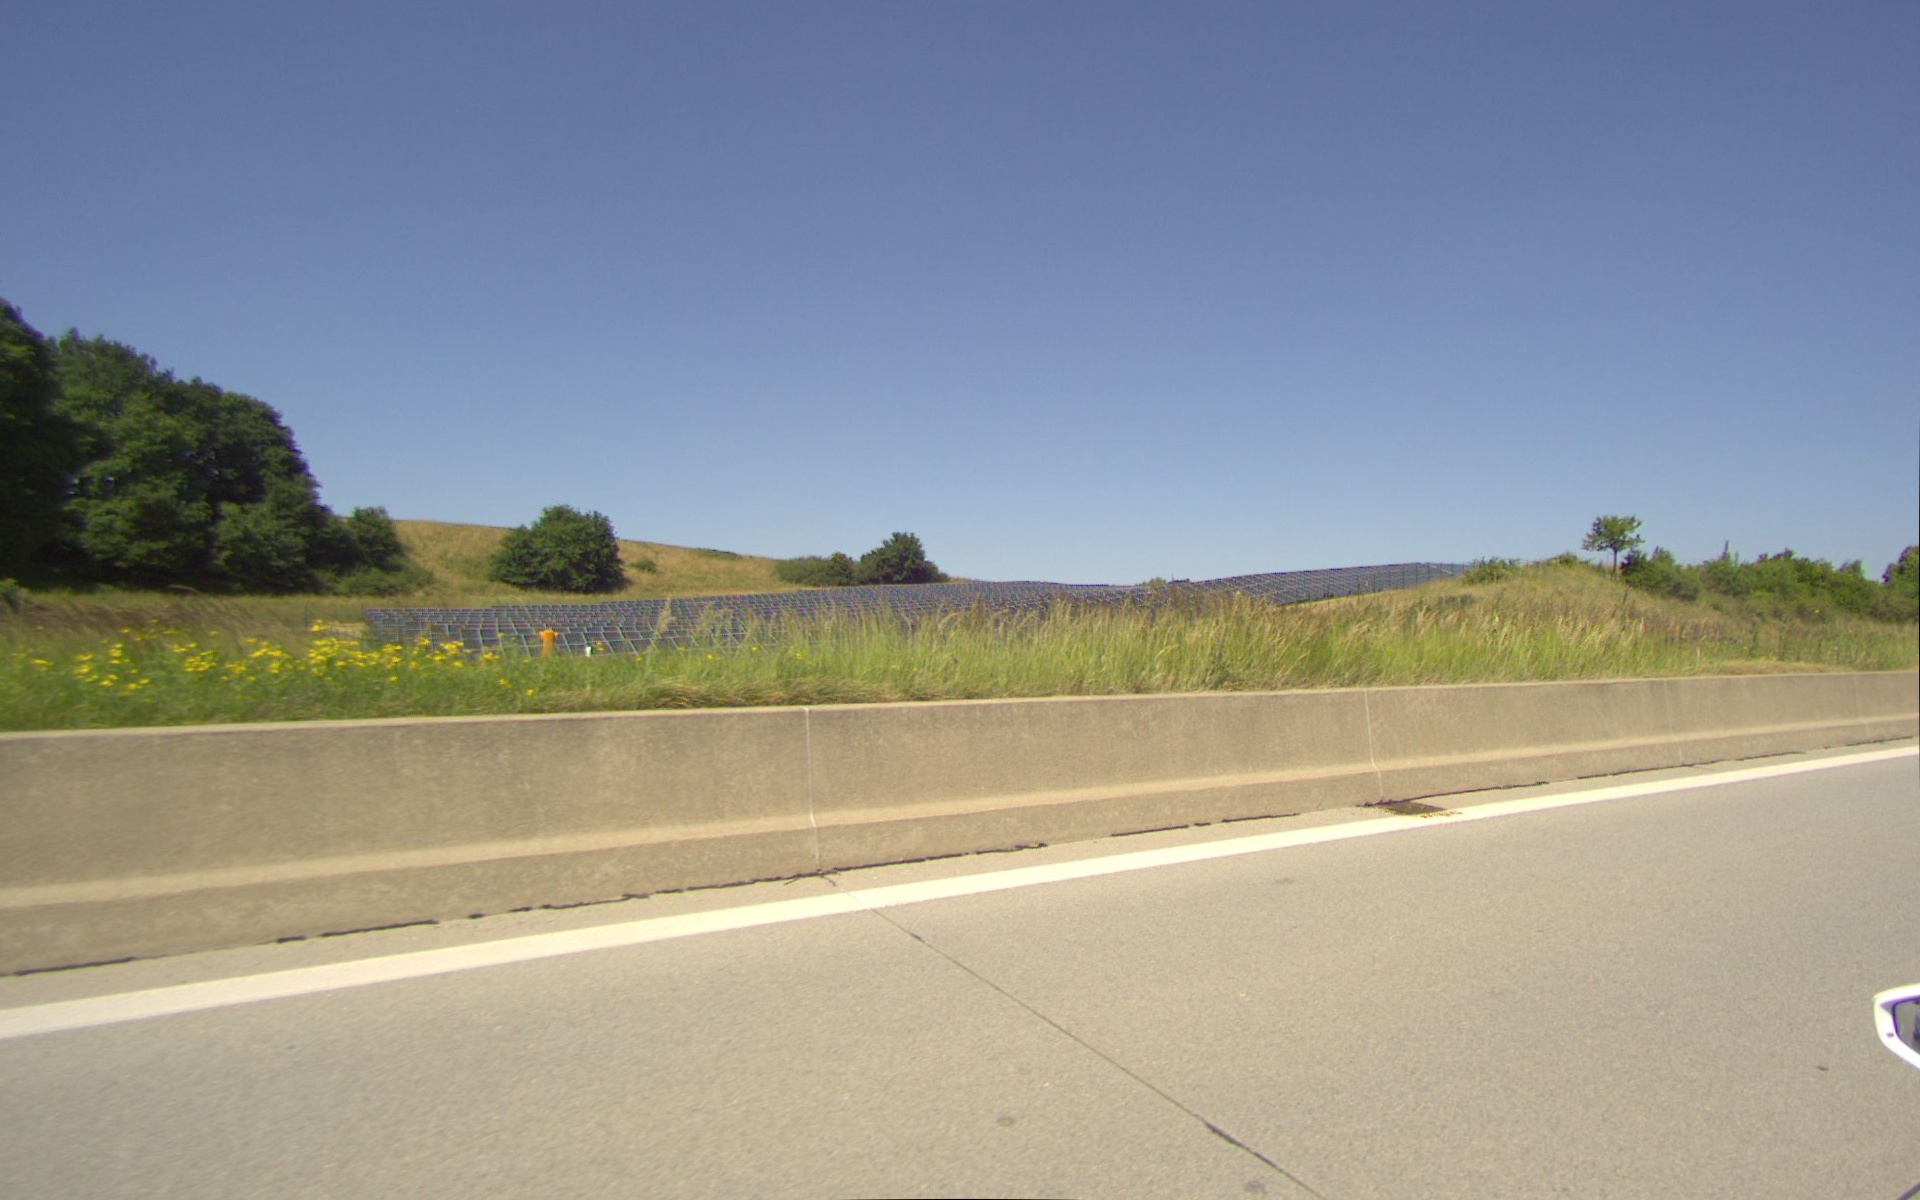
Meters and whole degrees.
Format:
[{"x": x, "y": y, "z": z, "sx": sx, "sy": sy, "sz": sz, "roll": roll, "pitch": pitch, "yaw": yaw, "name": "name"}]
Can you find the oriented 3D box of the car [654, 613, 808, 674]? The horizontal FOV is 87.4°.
[{"x": -5.915, "y": 1.104, "z": 26.024, "sx": 3.587, "sy": 1.394, "sz": 1.489, "roll": 1, "pitch": 3, "yaw": -32, "name": "car"}]
